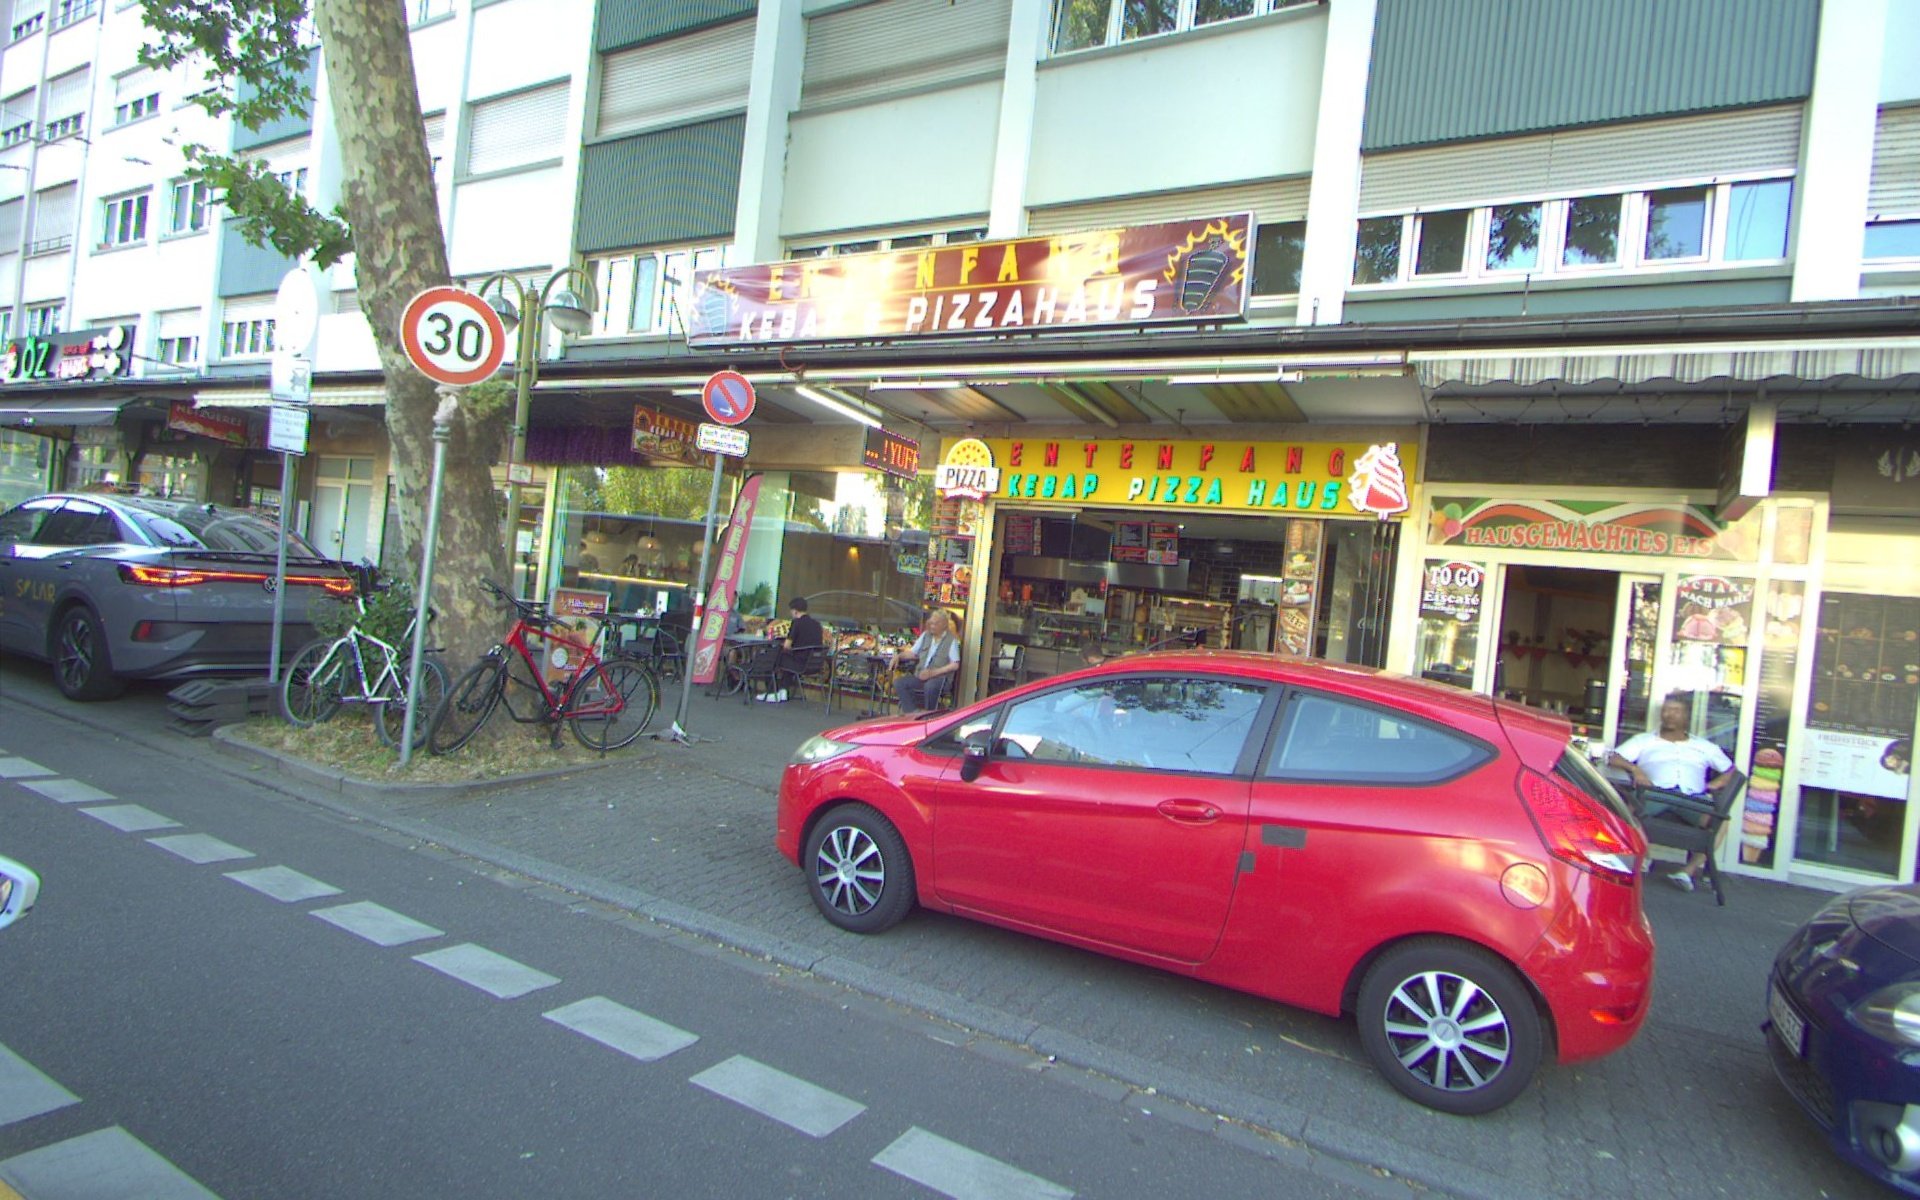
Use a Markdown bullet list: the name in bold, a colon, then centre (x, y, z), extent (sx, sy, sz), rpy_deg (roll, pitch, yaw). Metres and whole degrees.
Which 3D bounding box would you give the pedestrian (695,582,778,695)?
- **pedestrian**: centre (-2.681, 0.462, 12.074), extent (0.680, 1.261, 0.557), rpy_deg (7, 2, 38)

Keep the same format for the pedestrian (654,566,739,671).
- **pedestrian**: centre (-3.743, 0.260, 14.363), extent (0.958, 1.350, 0.830), rpy_deg (6, 0, -9)

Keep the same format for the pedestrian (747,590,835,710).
- **pedestrian**: centre (-1.925, 0.565, 11.453), extent (0.679, 1.261, 0.558), rpy_deg (7, 2, 33)

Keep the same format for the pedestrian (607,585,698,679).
- **pedestrian**: centre (-3.963, 0.404, 13.040), extent (0.940, 1.094, 0.639), rpy_deg (7, 0, -9)

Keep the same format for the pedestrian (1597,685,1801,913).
- **pedestrian**: centre (5.208, 1.343, 7.187), extent (0.937, 1.352, 1.069), rpy_deg (7, 0, 30)

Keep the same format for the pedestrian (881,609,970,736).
- **pedestrian**: centre (-0.362, 0.755, 10.665), extent (0.550, 1.252, 0.689), rpy_deg (7, 2, 29)

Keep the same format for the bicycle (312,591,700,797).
- **bicycle**: centre (-2.997, 0.561, 6.901), extent (0.547, 1.171, 2.377), rpy_deg (7, 4, 44)

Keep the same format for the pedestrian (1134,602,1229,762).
- **pedestrian**: centre (2.325, 0.850, 10.527), extent (0.589, 1.566, 0.700), rpy_deg (7, 0, 34)

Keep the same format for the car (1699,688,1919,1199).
- **car**: centre (4.371, 1.268, 2.657), extent (3.549, 1.488, 1.767), rpy_deg (6, 3, 29)

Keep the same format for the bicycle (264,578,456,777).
- **bicycle**: centre (-4.219, 0.508, 7.040), extent (1.421, 1.169, 0.553), rpy_deg (6, 0, 36)

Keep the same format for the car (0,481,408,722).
- **car**: centre (-7.321, -0.117, 9.057), extent (4.292, 1.603, 1.996), rpy_deg (7, 2, 27)

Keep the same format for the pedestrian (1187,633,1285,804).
- **pedestrian**: centre (2.732, 1.153, 9.931), extent (0.589, 1.560, 0.700), rpy_deg (7, 0, 34)

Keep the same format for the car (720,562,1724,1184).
- **car**: centre (0.971, 0.819, 4.715), extent (3.757, 1.617, 1.783), rpy_deg (6, 3, 28)

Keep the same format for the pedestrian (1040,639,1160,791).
- **pedestrian**: centre (1.280, 1.016, 9.167), extent (0.798, 1.225, 0.654), rpy_deg (7, 2, 28)
